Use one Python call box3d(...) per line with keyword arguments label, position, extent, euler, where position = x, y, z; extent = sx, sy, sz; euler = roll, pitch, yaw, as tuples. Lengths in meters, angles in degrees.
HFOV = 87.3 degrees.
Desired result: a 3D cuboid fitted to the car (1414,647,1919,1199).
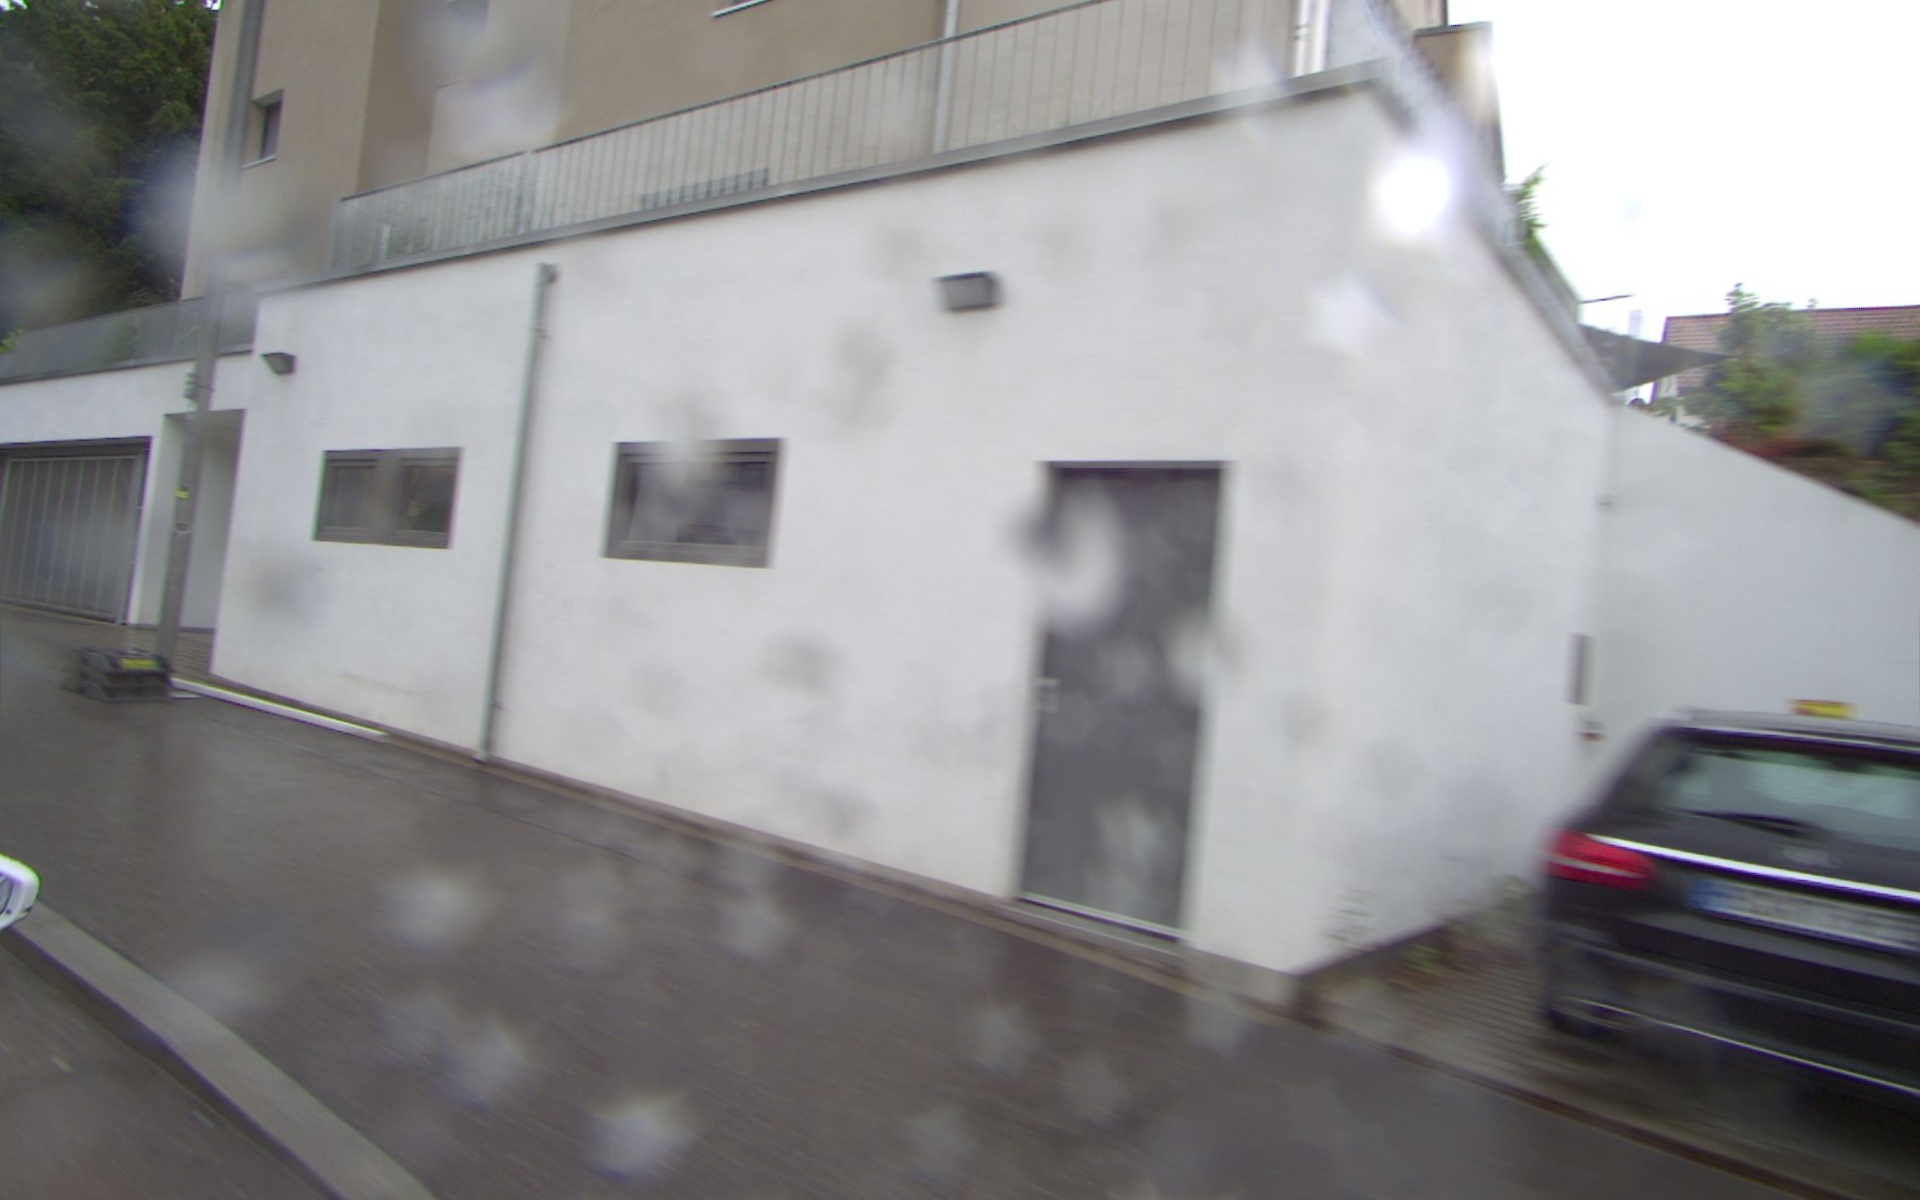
box3d(label="car", position=(3.821, 1.201, 4.517), extent=(1.973, 1.475, 3.981), euler=(7, -1, 43))
